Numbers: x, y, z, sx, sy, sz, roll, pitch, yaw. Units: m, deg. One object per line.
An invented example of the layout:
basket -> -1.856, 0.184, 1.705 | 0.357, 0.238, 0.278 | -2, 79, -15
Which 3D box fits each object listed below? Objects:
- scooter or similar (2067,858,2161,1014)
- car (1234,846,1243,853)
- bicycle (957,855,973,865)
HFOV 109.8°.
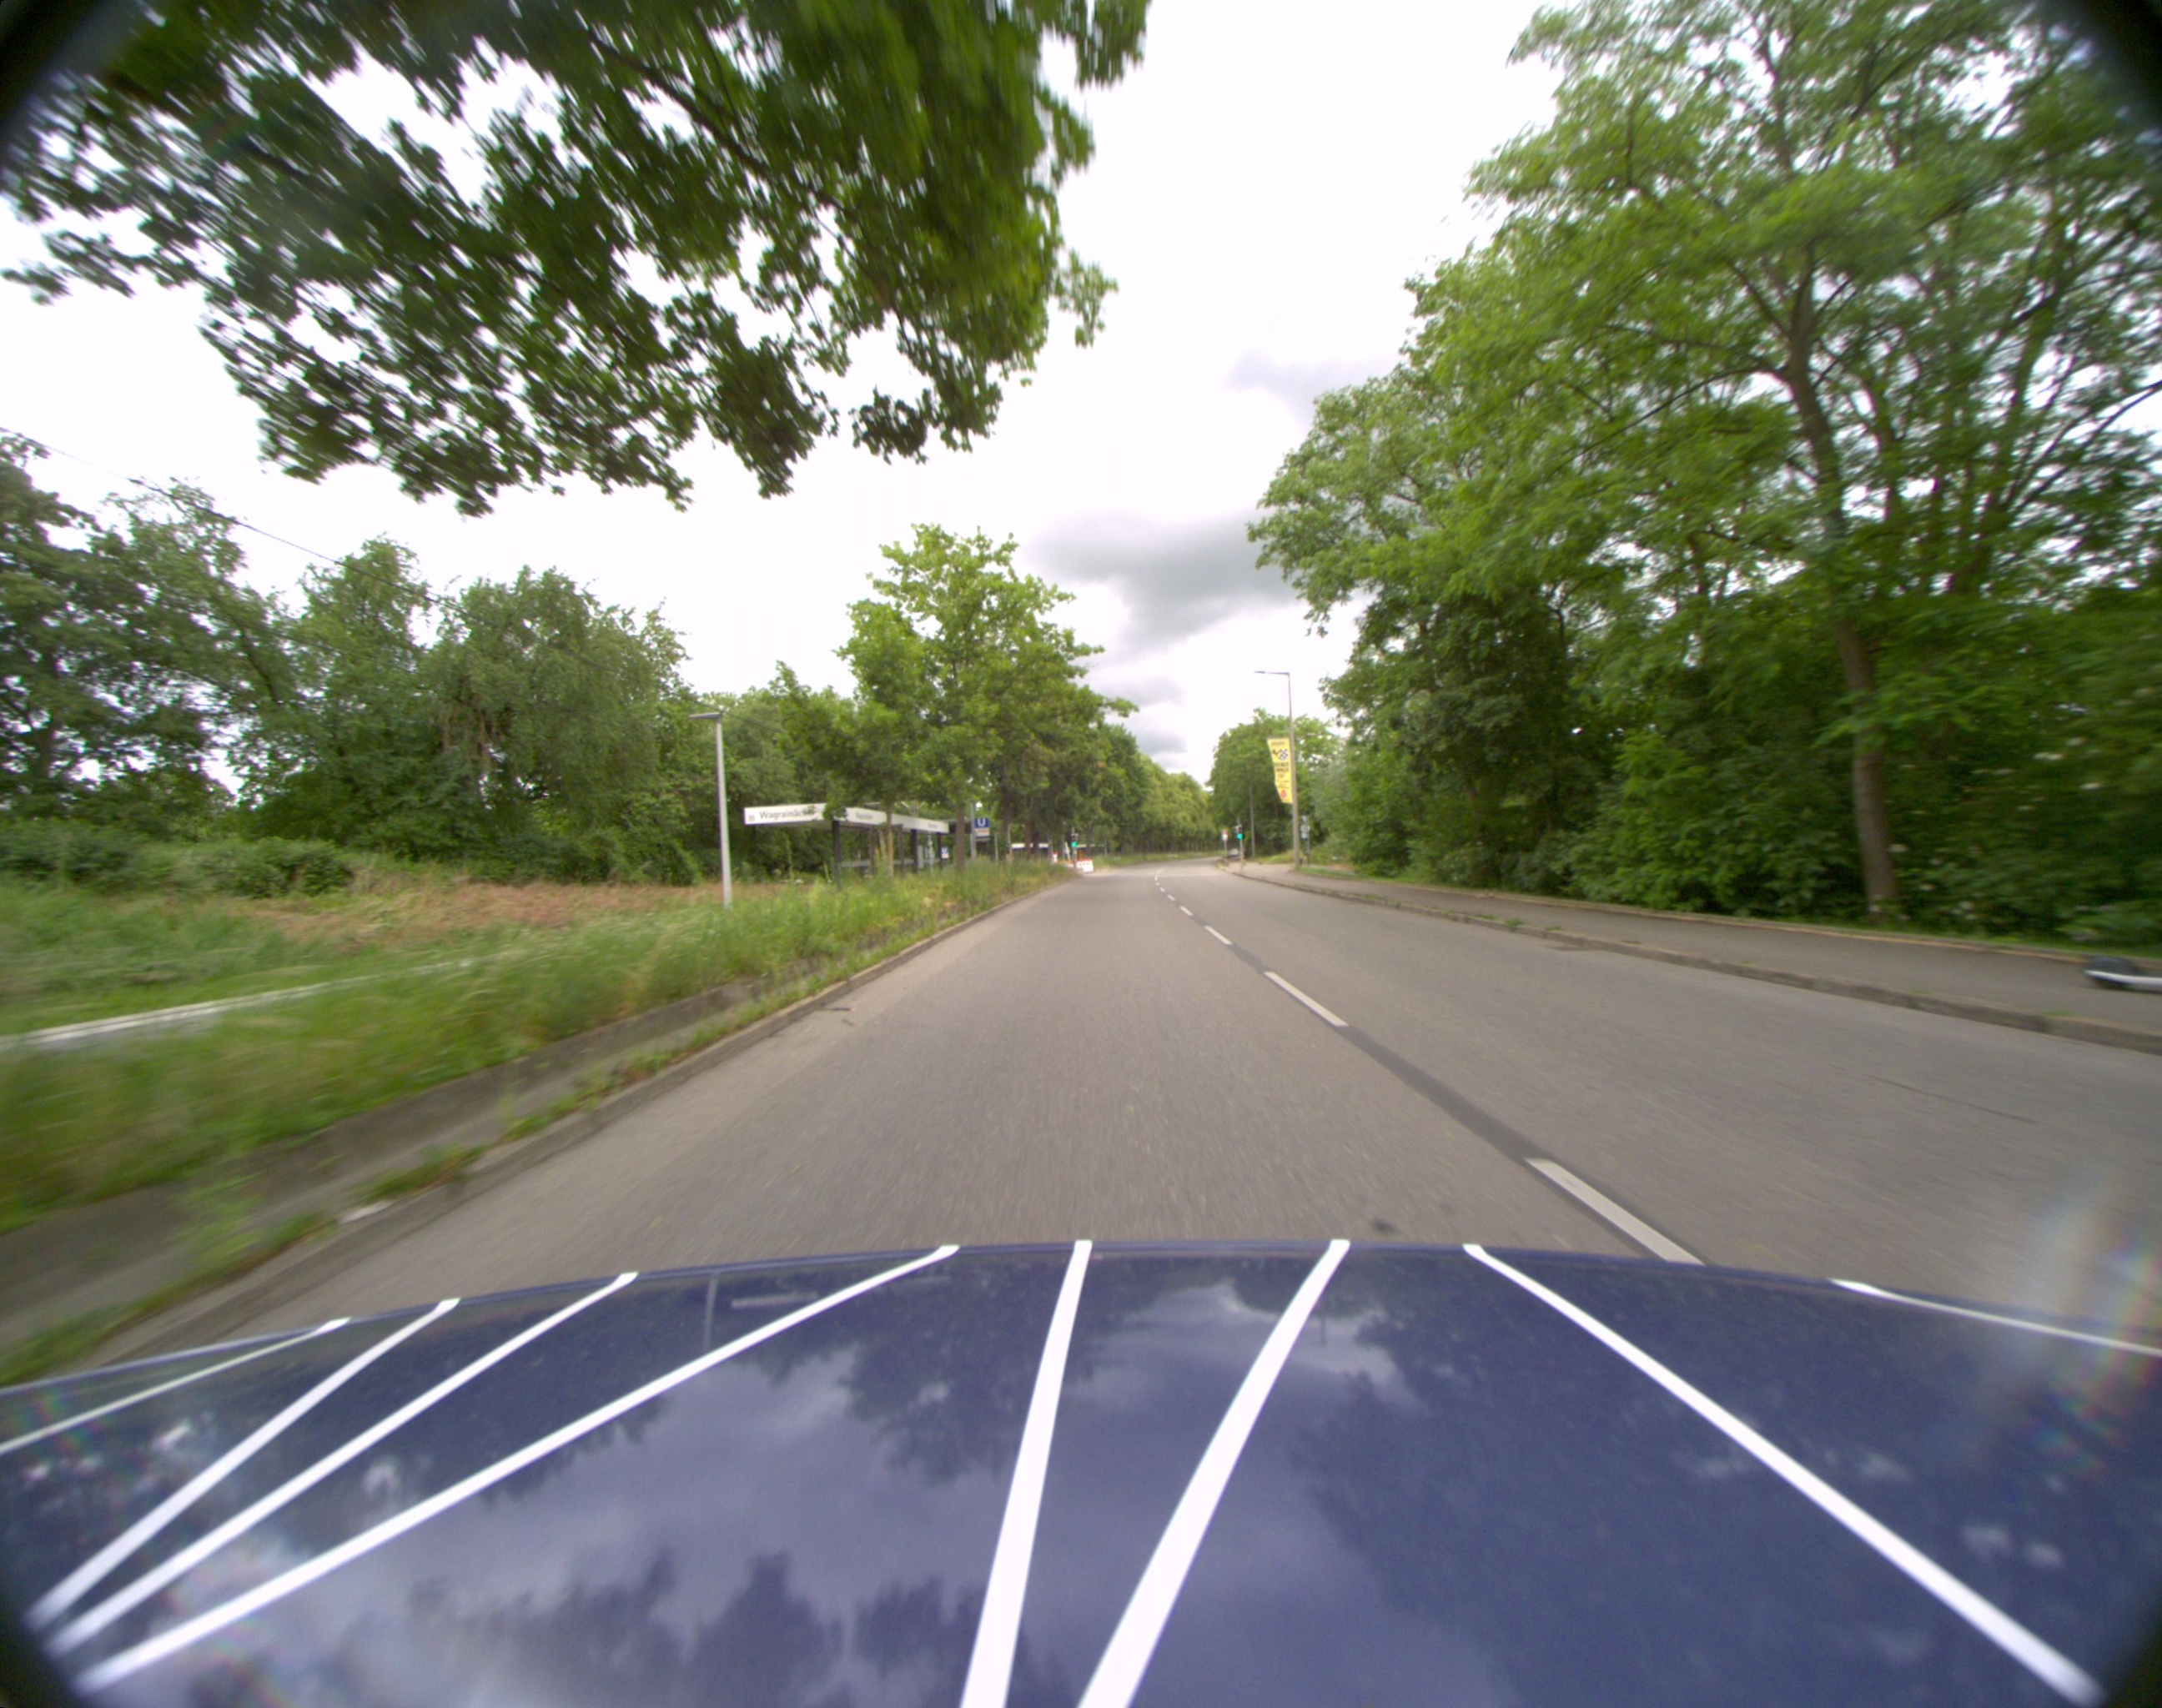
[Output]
scooter or similar -> 8.504, 0.629, 5.687 | 0.366, 1.177, 1.295 | -4, 1, -18
car -> 35.335, -0.994, 170.465 | 1.776, 1.431, 4.364 | -1, 0, 9
bicycle -> -12.489, 0.662, 81.901 | 1.511, 0.968, 0.450 | -5, 0, 8
